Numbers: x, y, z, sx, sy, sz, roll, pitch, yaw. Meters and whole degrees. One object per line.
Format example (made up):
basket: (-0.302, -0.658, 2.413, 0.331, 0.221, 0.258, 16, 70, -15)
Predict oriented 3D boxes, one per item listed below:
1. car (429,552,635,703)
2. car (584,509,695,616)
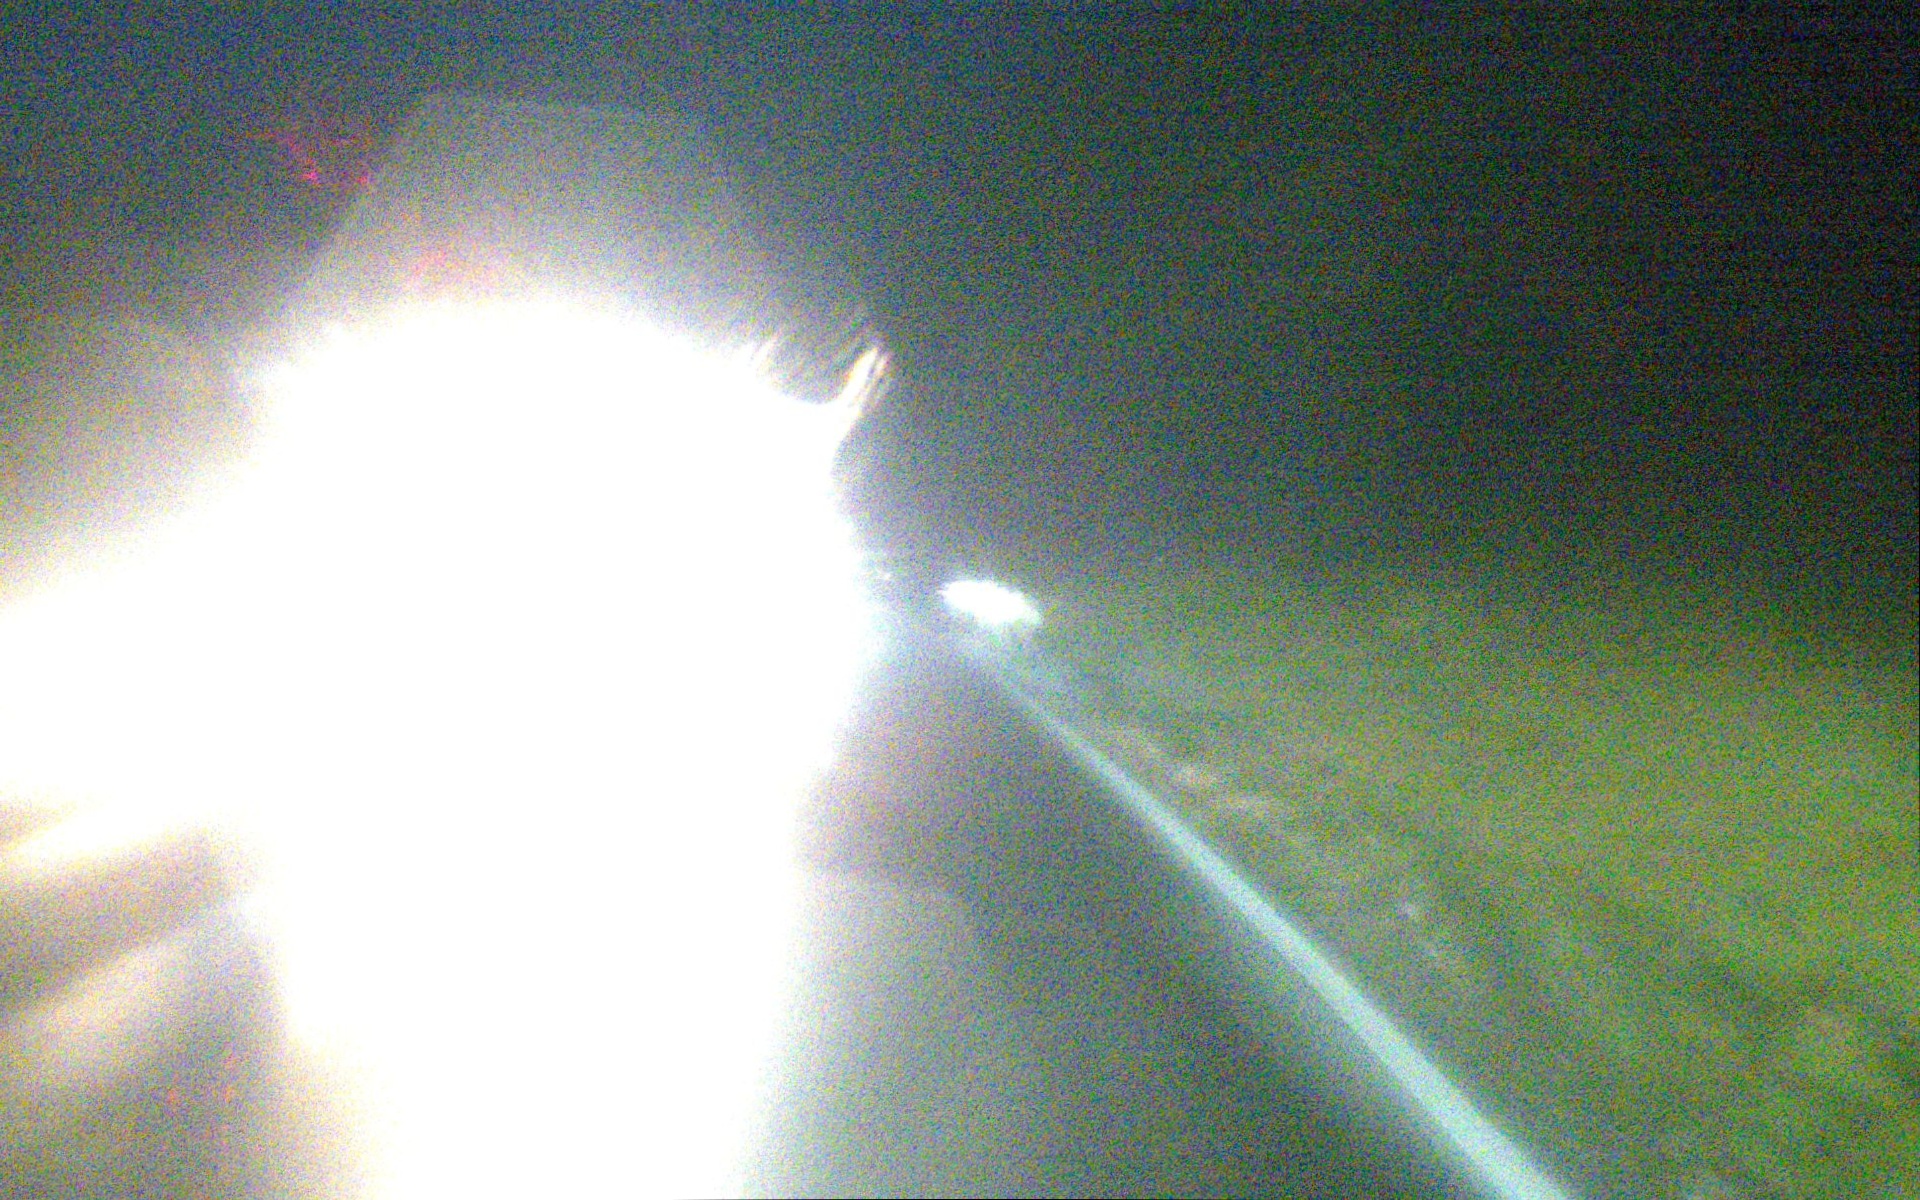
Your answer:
car: (-4.876, 0.269, 39.713, 1.926, 1.569, 4.348, 1, 2, -1)
car: (-6.278, -0.767, 67.675, 1.993, 2.007, 4.001, 1, 2, -3)
